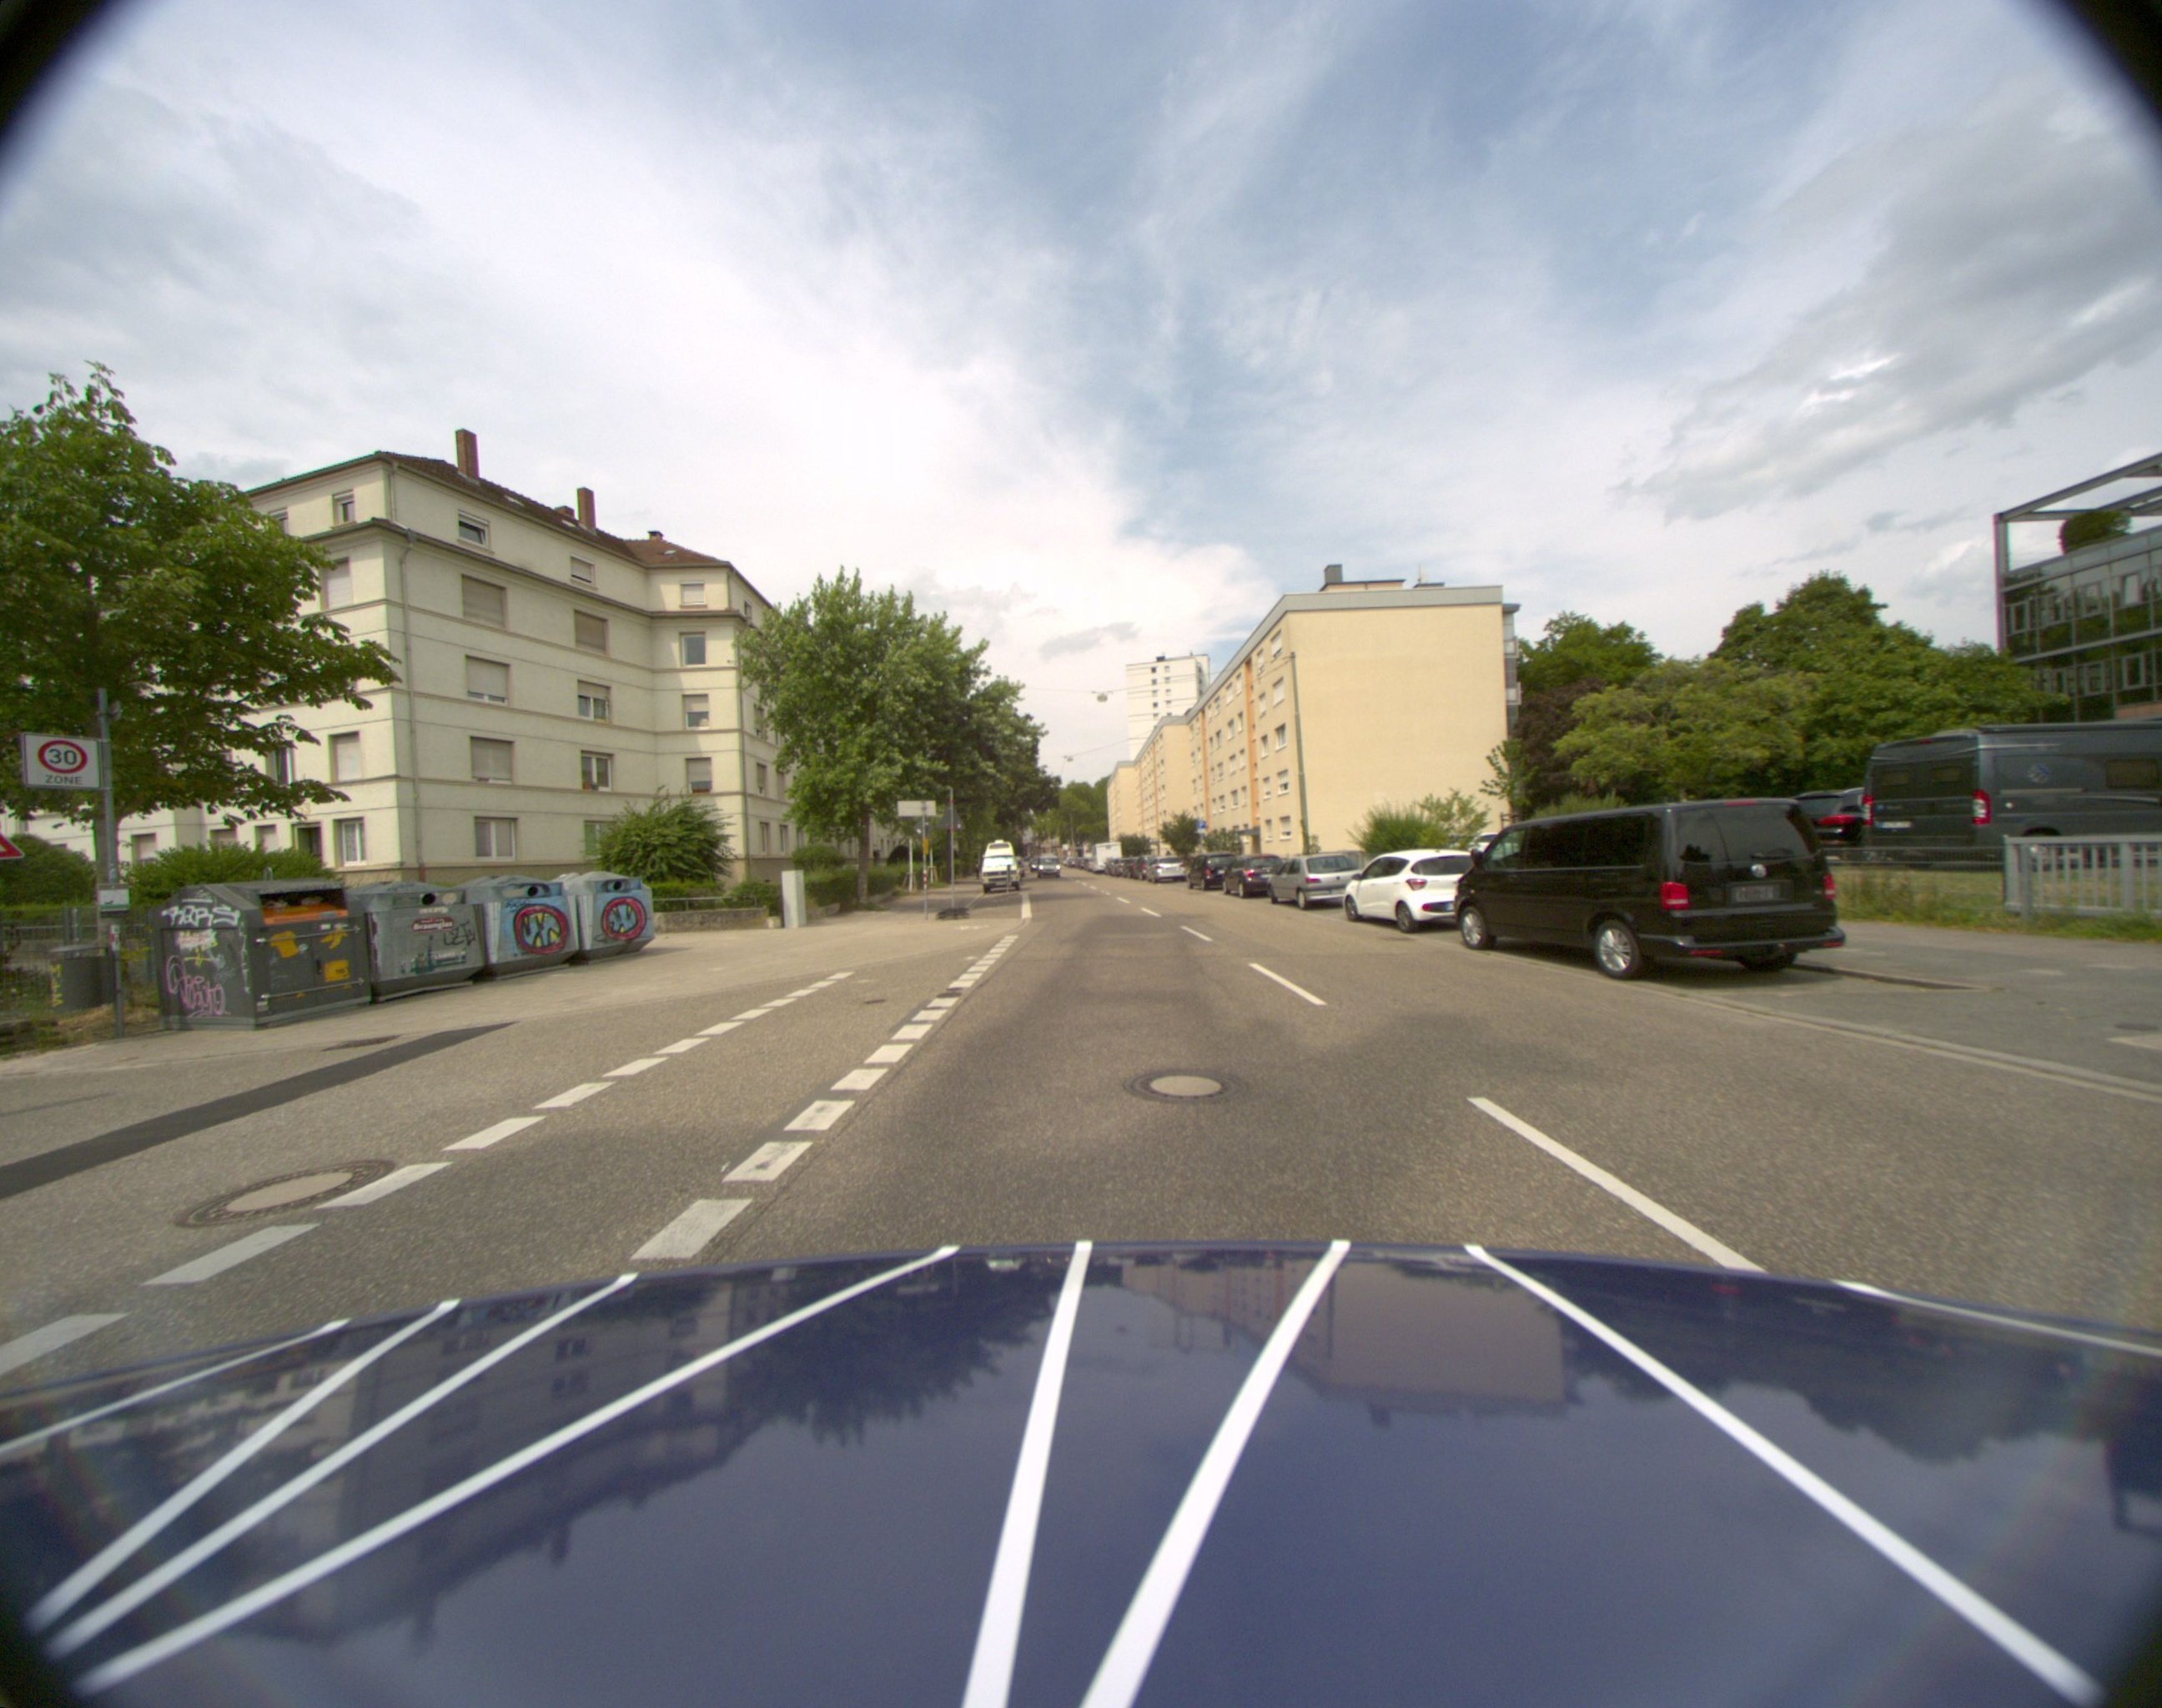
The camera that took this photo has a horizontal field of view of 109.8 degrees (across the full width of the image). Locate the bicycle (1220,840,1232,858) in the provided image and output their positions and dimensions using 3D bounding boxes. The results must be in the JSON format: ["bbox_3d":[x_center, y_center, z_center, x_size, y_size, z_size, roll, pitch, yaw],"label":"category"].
[{"bbox_3d":[10.652,-0.370,55.713,0.534,1.200,2.018,-4,1,4],"label":"bicycle"}]

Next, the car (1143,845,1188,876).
[{"bbox_3d":[4.740,0.347,43.260,1.791,1.554,4.550,-5,0,-2],"label":"car"}]

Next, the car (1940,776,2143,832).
[{"bbox_3d":[30.255,-1.549,24.031,3.997,1.474,1.969,-3,2,-1],"label":"car"}]

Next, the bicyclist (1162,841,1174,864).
[{"bbox_3d":[6.143,-0.113,53.422,0.616,1.599,0.765,-4,2,-3],"label":"bicyclist"}]

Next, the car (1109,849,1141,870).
[{"bbox_3d":[3.446,0.422,60.239,1.723,1.499,4.622,-3,1,-6],"label":"car"}]

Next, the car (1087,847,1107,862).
[{"bbox_3d":[1.750,0.041,84.688,1.853,1.623,4.216,-1,1,-4],"label":"car"}]

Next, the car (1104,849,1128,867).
[{"bbox_3d":[3.000,0.343,66.032,1.617,1.475,4.056,-1,1,-5],"label":"car"}]

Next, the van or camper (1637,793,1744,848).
[{"bbox_3d":[34.115,-1.807,42.740,1.999,2.856,4.900,1,1,0],"label":"van or camper"}]

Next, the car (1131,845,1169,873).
[{"bbox_3d":[4.409,0.298,49.024,1.722,1.615,3.837,-3,1,-5],"label":"car"}]

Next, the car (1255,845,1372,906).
[{"bbox_3d":[6.314,0.523,21.115,1.692,1.449,4.262,-3,0,-3],"label":"car"}]

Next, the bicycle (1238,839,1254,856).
[{"bbox_3d":[11.966,-0.487,55.129,0.534,1.200,2.017,-5,1,-1],"label":"bicycle"}]

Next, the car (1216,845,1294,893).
[{"bbox_3d":[6.068,0.474,26.936,1.691,1.462,4.047,-4,1,-1],"label":"car"}]

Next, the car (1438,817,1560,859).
[{"bbox_3d":[17.395,-0.668,31.789,3.995,1.474,2.000,-3,2,5],"label":"car"}]

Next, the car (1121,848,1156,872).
[{"bbox_3d":[4.029,0.373,53.804,1.682,1.495,4.261,-4,1,-6],"label":"car"}]

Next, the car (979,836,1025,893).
[{"bbox_3d":[-3.982,0.457,39.055,1.900,2.587,4.902,-6,1,-4],"label":"car"}]

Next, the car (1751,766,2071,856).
[{"bbox_3d":[17.919,-0.878,16.592,4.708,1.608,2.001,-3,1,1],"label":"car"}]

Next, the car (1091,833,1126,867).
[{"bbox_3d":[2.538,-0.356,72.658,2.622,3.040,7.111,-1,0,-4],"label":"car"}]

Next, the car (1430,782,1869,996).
[{"bbox_3d":[6.788,0.336,9.986,1.954,1.992,4.842,-4,1,-2],"label":"car"}]

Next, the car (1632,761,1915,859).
[{"bbox_3d":[17.475,-1.063,19.423,5.097,2.137,2.228,-2,1,2],"label":"car"}]

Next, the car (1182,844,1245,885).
[{"bbox_3d":[5.580,0.391,32.506,1.627,1.566,3.997,-3,1,-5],"label":"car"}]

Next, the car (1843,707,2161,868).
[{"bbox_3d":[17.923,-1.200,13.982,5.324,2.537,2.354,-3,1,1],"label":"car"}]

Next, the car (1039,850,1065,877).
[{"bbox_3d":[-2.422,0.752,62.572,1.999,2.002,3.998,-1,1,-4],"label":"car"}]

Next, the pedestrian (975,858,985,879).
[{"bbox_3d":[-9.150,1.302,69.003,0.808,1.794,0.763,-1,2,-4],"label":"pedestrian"}]

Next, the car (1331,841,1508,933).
[{"bbox_3d":[6.657,0.575,15.411,1.658,1.520,3.763,-4,0,-3],"label":"car"}]
